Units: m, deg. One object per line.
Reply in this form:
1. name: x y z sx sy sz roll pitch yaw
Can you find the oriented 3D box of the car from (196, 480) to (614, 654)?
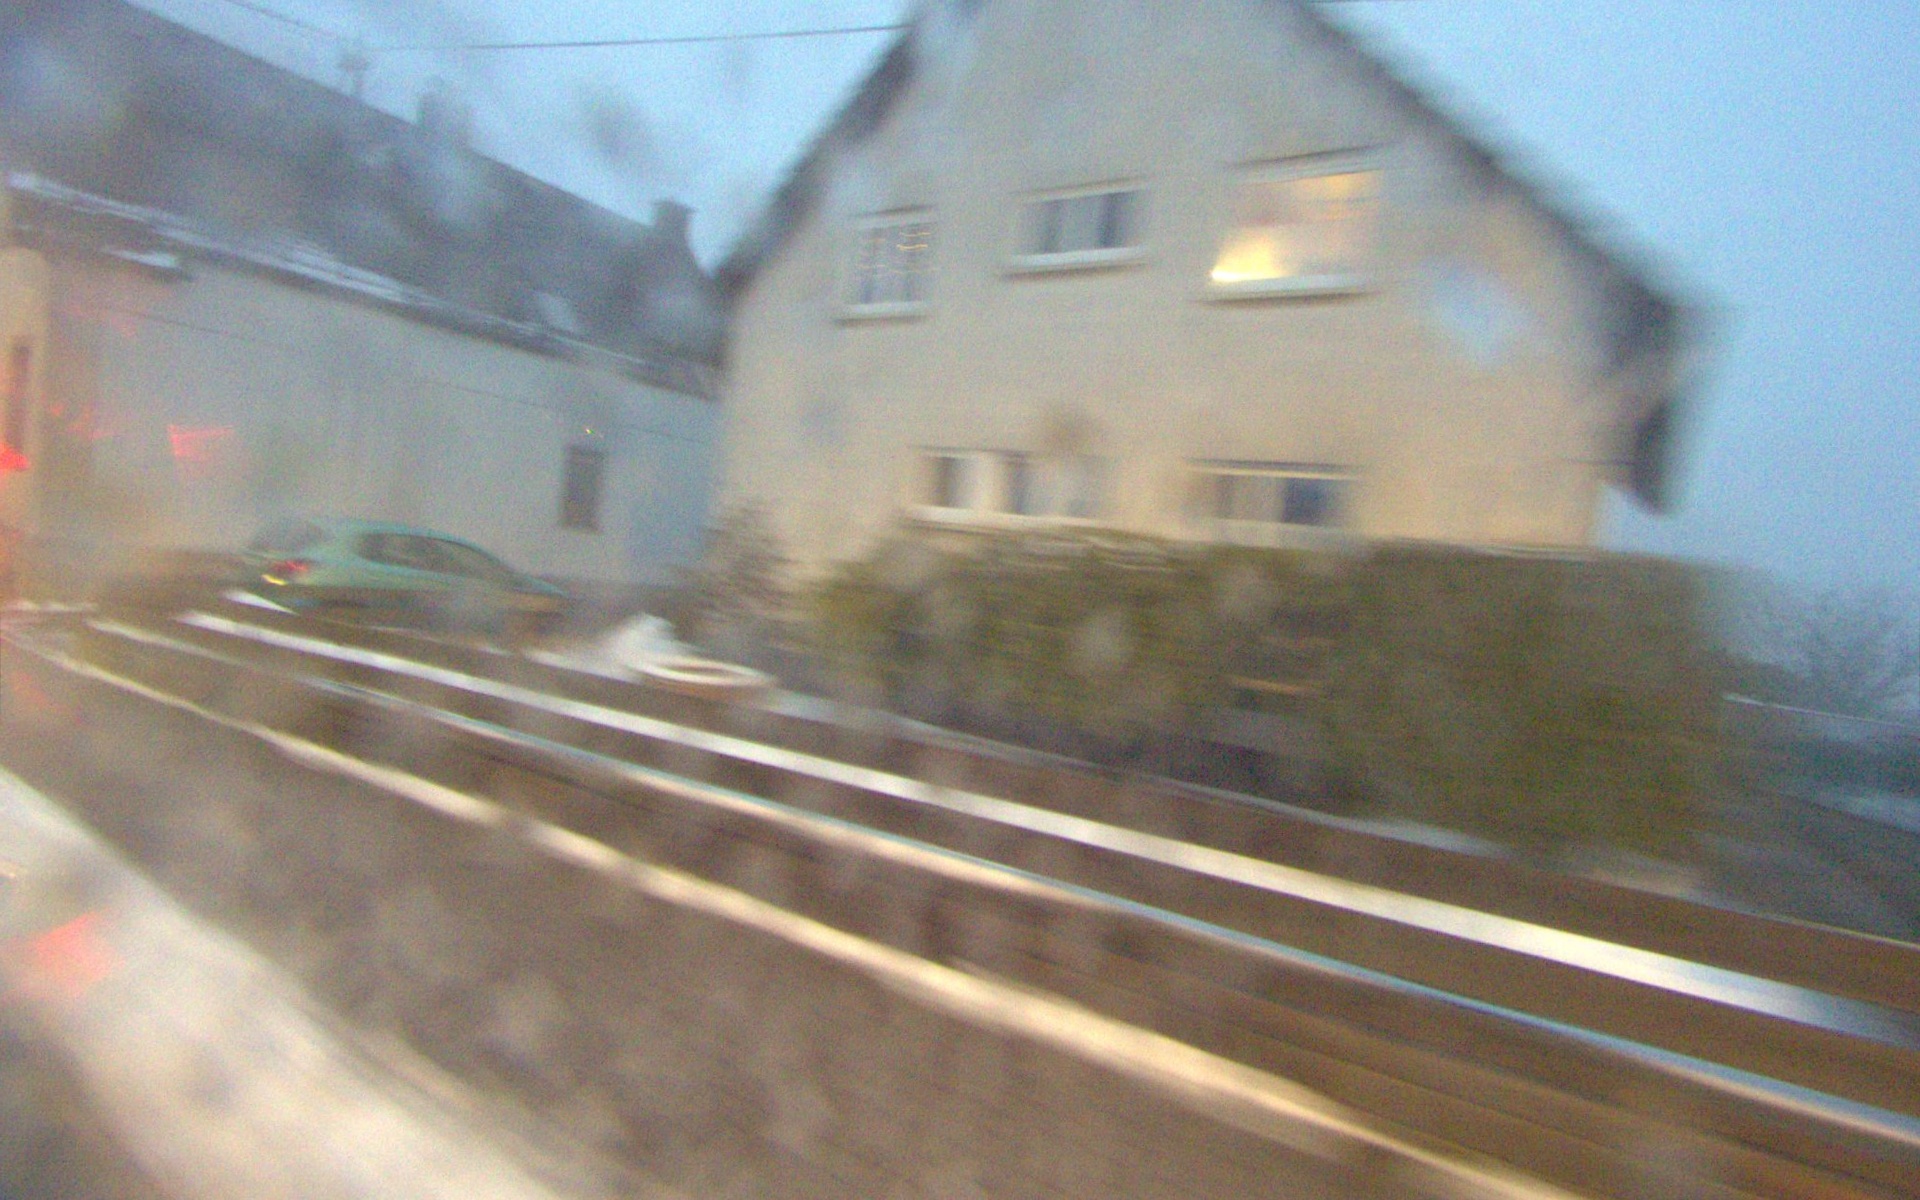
1. car: -6.488 -0.295 12.191 1.686 1.471 3.991 10 1 33
